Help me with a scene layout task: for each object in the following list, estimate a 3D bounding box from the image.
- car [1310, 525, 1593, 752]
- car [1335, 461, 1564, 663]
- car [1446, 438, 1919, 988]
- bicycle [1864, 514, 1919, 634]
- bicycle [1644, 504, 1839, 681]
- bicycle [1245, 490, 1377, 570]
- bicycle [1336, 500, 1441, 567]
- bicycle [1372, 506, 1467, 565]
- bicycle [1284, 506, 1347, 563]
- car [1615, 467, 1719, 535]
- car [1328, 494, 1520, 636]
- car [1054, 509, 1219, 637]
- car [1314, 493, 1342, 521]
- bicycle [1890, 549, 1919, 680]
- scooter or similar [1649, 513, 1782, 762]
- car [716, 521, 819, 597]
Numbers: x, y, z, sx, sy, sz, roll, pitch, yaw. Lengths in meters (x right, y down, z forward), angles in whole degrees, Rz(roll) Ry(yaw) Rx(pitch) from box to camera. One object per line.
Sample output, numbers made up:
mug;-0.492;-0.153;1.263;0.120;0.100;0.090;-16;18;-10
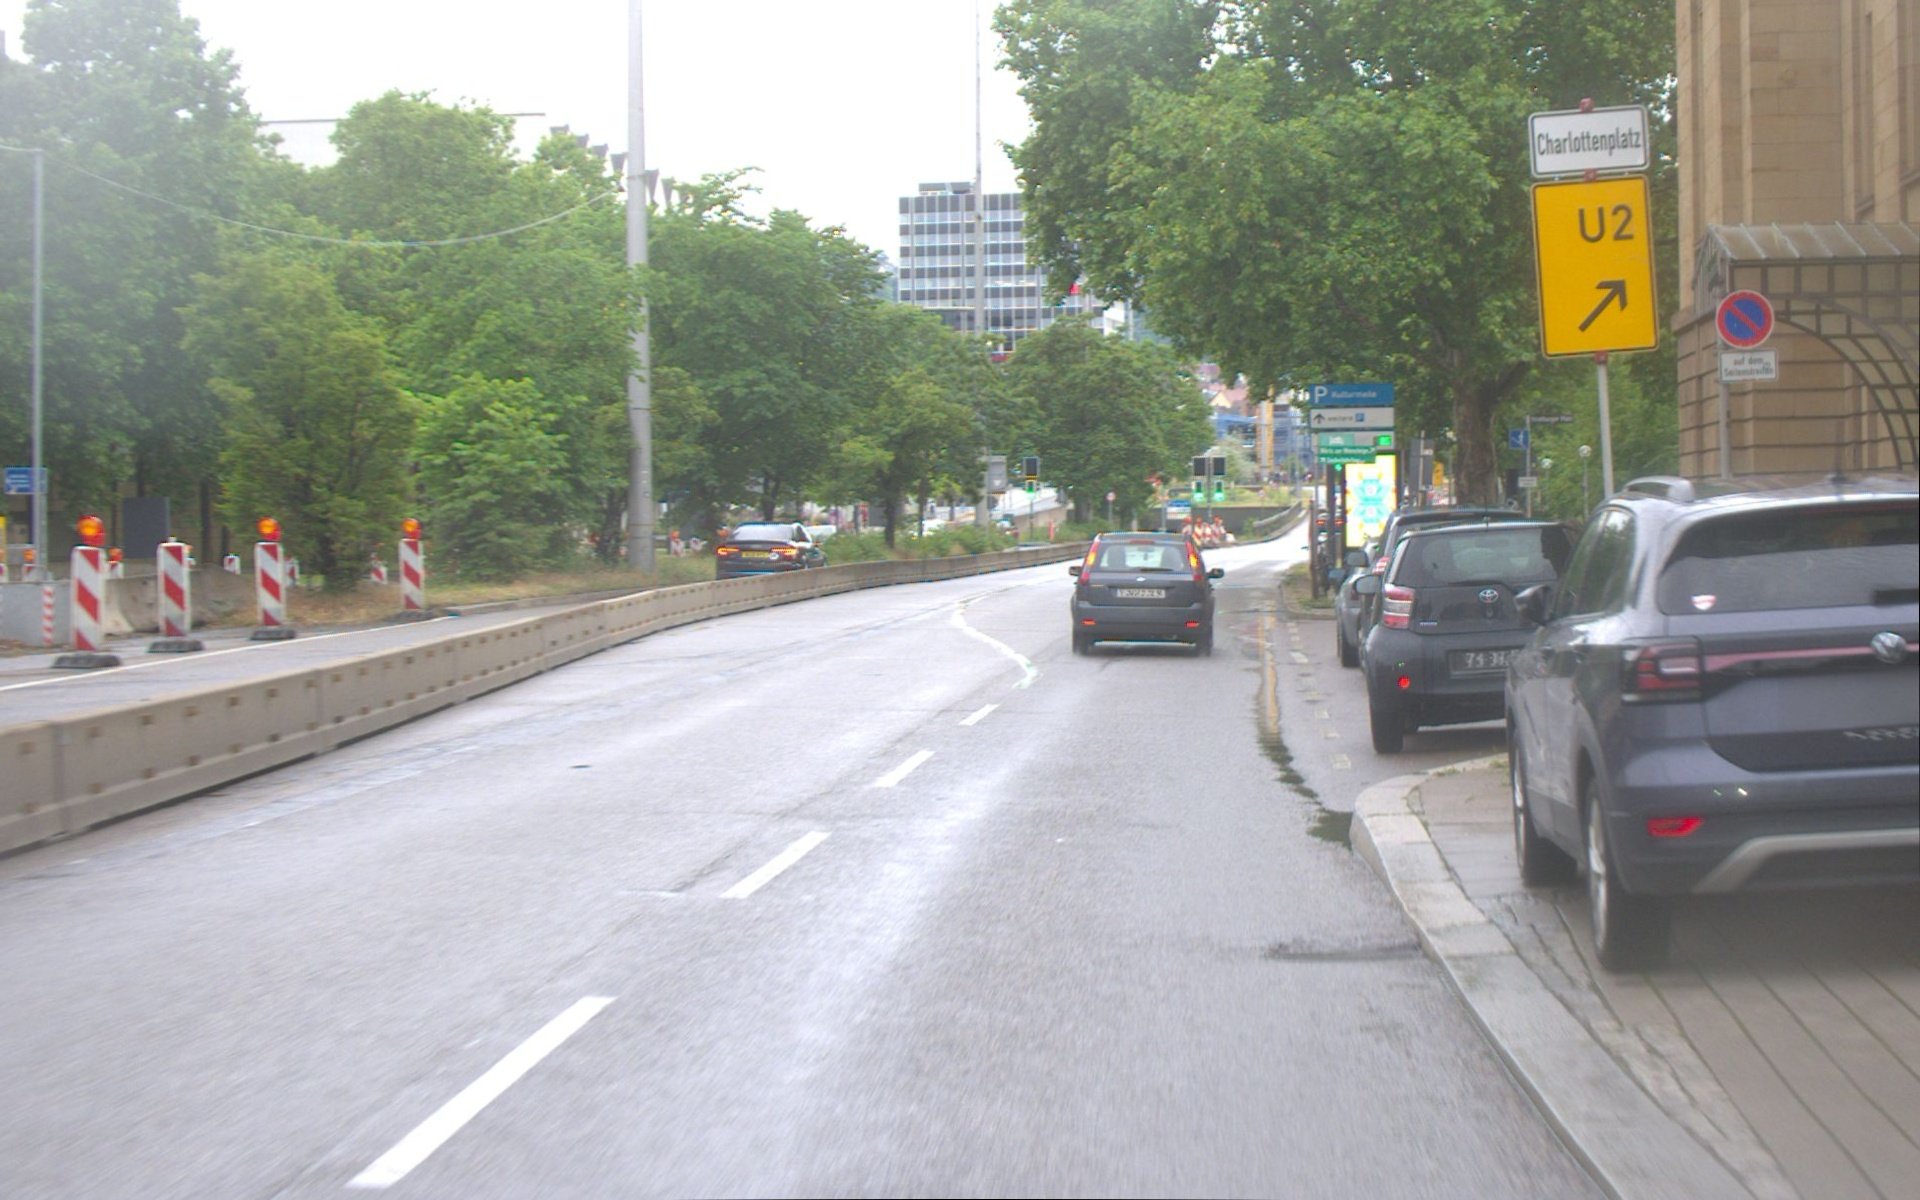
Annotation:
car;3.377;0.205;23.271;1.759;1.409;3.151;0;1;10
car;4.599;-0.390;32.485;1.994;1.775;4.187;0;1;7
car;2.832;0.251;12.341;1.871;1.613;4.404;-1;2;5
bicycle;8.489;-0.246;30.756;0.583;1.034;1.758;0;1;9
bicycle;5.670;-0.078;25.052;0.775;1.214;1.966;-2;2;-6
bicycle;5.922;-1.192;57.977;2.191;1.332;0.650;0;2;8
bicycle;7.031;-1.094;56.407;1.679;1.086;0.650;0;2;8
bicycle;7.807;-1.097;58.412;1.590;0.991;0.524;0;2;8
bicycle;6.079;-1.124;58.730;0.670;0.964;1.636;1;2;21
car;18.287;-2.598;89.143;1.994;1.604;5.236;0;3;5
car;5.027;-0.411;37.649;1.932;1.473;3.702;0;1;6
car;2.084;-0.342;41.239;1.844;1.411;3.839;-2;1;2
car;24.602;-6.220;229.775;1.739;1.765;3.999;-2;1;7
bicycle;8.124;0.120;27.839;0.712;1.048;1.741;0;1;0
scooter or similar;3.843;0.173;17.532;0.433;1.212;1.122;-2;1;3
car;-3.835;-0.851;69.055;1.754;1.446;4.000;1;1;1
